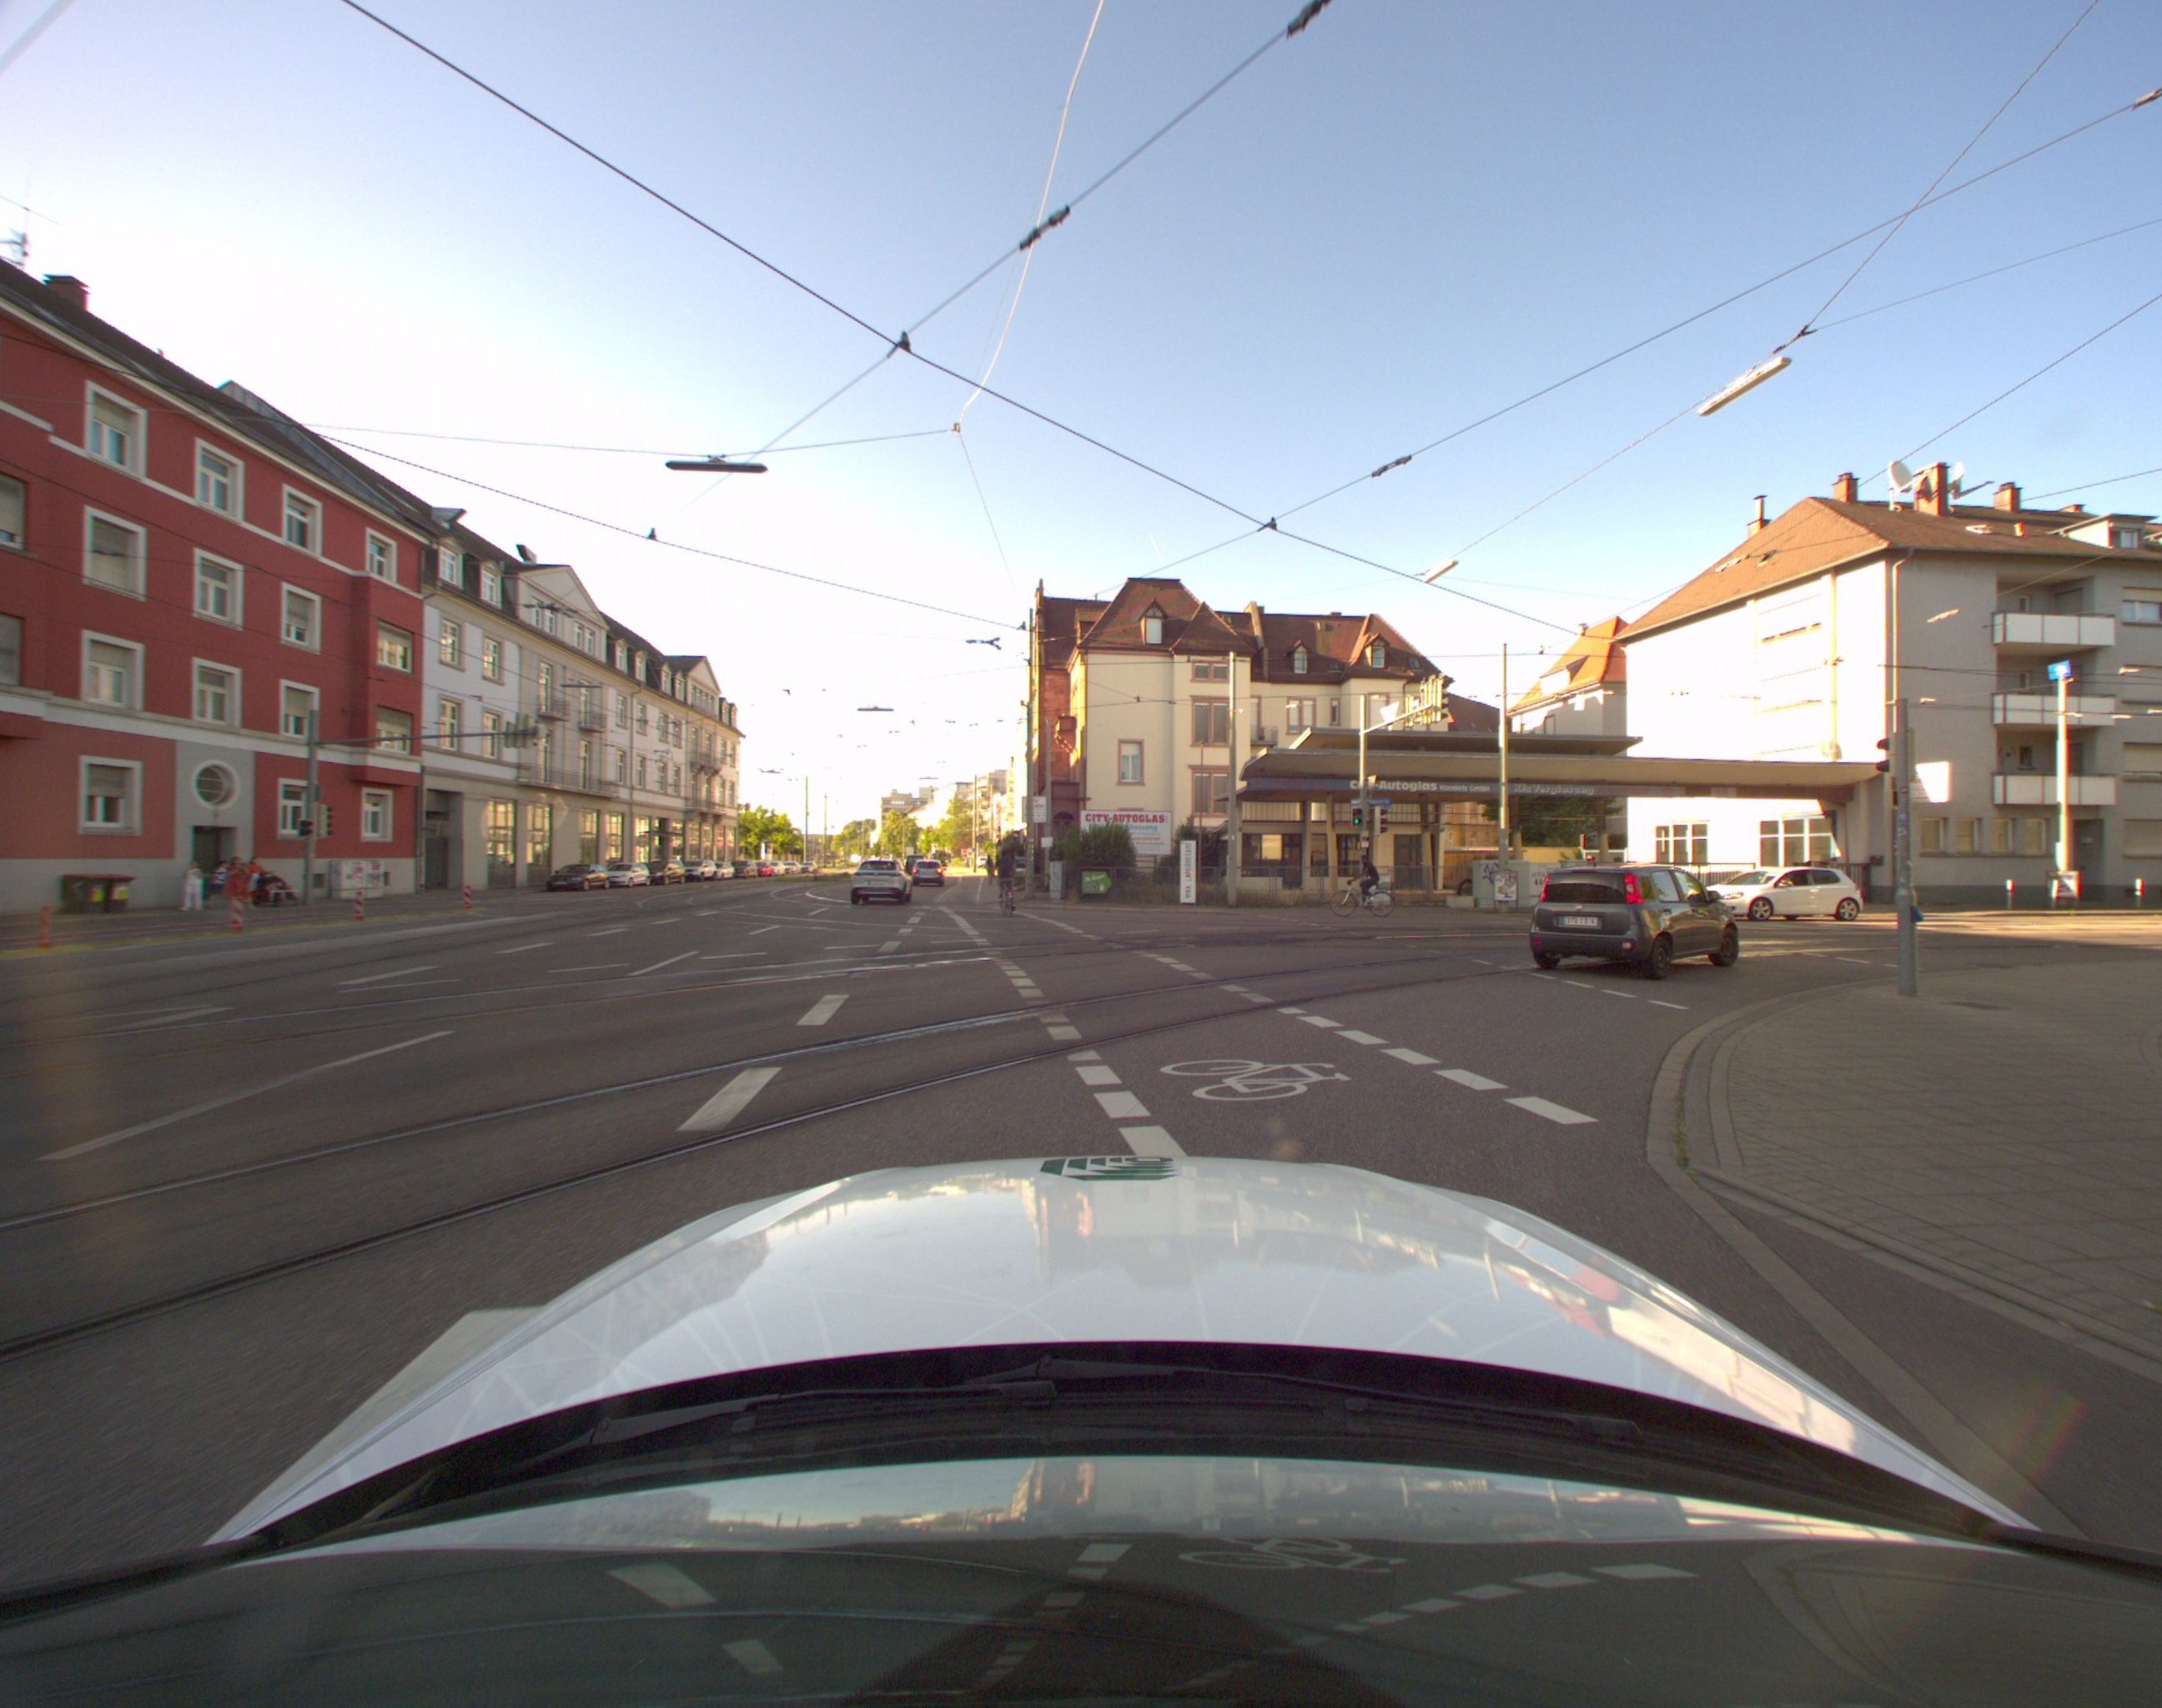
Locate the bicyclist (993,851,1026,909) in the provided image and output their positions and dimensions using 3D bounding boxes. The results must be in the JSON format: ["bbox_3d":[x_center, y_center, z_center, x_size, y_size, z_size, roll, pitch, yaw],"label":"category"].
[{"bbox_3d":[-1.928,0.694,21.870,0.833,1.525,0.991,0,-1,-9],"label":"bicyclist"}]

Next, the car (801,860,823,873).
[{"bbox_3d":[-32.630,1.545,98.790,1.717,1.552,3.991,0,0,-6],"label":"car"}]

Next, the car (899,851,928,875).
[{"bbox_3d":[-14.828,0.811,72.294,2.170,2.009,4.796,0,0,-7],"label":"car"}]

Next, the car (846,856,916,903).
[{"bbox_3d":[-6.939,0.856,28.634,1.946,1.528,4.079,1,0,-7],"label":"car"}]

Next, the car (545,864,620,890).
[{"bbox_3d":[-25.616,1.177,42.005,1.717,1.232,3.991,0,0,-6],"label":"car"}]

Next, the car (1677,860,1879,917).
[{"bbox_3d":[18.915,0.915,22.189,4.170,1.458,1.793,0,-2,-6],"label":"car"}]

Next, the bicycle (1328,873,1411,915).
[{"bbox_3d":[8.059,1.100,22.822,2.050,1.125,0.896,0,-1,2],"label":"bicycle"}]

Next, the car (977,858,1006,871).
[{"bbox_3d":[-14.253,1.717,129.957,4.267,2.014,1.989,0,-1,-16],"label":"car"}]

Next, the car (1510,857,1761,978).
[{"bbox_3d":[8.224,0.809,11.976,4.016,1.500,1.718,1,0,-34],"label":"car"}]

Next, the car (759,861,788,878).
[{"bbox_3d":[-30.142,1.514,79.871,1.717,1.552,3.991,0,-1,-6],"label":"car"}]

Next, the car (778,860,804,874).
[{"bbox_3d":[-31.318,1.395,88.038,1.717,1.552,3.991,0,-1,-6],"label":"car"}]

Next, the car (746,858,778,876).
[{"bbox_3d":[-29.435,1.184,75.194,1.717,1.552,3.991,0,0,-6],"label":"car"}]

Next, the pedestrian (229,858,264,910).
[{"bbox_3d":[-26.627,0.937,25.997,0.658,1.633,0.786,1,-1,-39],"label":"pedestrian"}]

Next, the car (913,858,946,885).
[{"bbox_3d":[-9.487,1.078,51.277,1.812,1.582,3.990,0,-1,-7],"label":"car"}]

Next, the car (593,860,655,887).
[{"bbox_3d":[-26.592,1.116,47.497,1.717,1.452,3.991,0,0,-6],"label":"car"}]

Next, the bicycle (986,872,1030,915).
[{"bbox_3d":[-1.986,1.044,22.010,0.773,1.086,1.859,0,-1,-19],"label":"bicycle"}]

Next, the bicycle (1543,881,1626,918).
[{"bbox_3d":[14.659,1.312,23.720,2.038,1.017,0.726,0,-1,-6],"label":"bicycle"}]

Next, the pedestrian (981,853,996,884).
[{"bbox_3d":[-5.594,0.867,49.461,0.874,1.824,1.182,0,-1,-6],"label":"pedestrian"}]

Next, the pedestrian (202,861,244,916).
[{"bbox_3d":[-26.230,1.045,24.909,0.836,1.633,0.785,1,-1,-45],"label":"pedestrian"}]

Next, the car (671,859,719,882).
[{"bbox_3d":[-27.948,1.162,59.117,1.833,1.552,4.264,0,0,-6],"label":"car"}]

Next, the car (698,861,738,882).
[{"bbox_3d":[-28.586,1.372,64.202,1.717,1.552,3.991,0,0,-6],"label":"car"}]

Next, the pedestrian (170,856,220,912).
[{"bbox_3d":[-26.126,0.864,24.028,0.797,1.633,0.649,0,-1,-28],"label":"pedestrian"}]

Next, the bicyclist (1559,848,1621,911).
[{"bbox_3d":[14.833,0.741,23.761,1.250,1.787,0.908,0,-1,-11],"label":"bicyclist"}]

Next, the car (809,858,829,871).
[{"bbox_3d":[-33.694,1.310,104.705,1.717,1.552,3.991,0,0,-6],"label":"car"}]

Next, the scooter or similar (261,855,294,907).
[{"bbox_3d":[-26.087,0.866,26.450,0.658,1.633,0.786,1,-1,-39],"label":"scooter or similar"}]

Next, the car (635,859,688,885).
[{"bbox_3d":[-26.937,1.137,52.433,1.717,1.552,3.847,0,0,-6],"label":"car"}]

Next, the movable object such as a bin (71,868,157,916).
[{"bbox_3d":[-26.337,1.013,22.208,0.868,1.249,1.233,0,-1,0],"label":"movable object such as a bin"}]

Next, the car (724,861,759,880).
[{"bbox_3d":[-28.842,1.412,69.273,1.717,1.552,3.991,0,0,-6],"label":"car"}]

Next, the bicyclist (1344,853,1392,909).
[{"bbox_3d":[8.029,0.740,22.813,1.043,1.526,0.880,0,-1,2],"label":"bicyclist"}]
